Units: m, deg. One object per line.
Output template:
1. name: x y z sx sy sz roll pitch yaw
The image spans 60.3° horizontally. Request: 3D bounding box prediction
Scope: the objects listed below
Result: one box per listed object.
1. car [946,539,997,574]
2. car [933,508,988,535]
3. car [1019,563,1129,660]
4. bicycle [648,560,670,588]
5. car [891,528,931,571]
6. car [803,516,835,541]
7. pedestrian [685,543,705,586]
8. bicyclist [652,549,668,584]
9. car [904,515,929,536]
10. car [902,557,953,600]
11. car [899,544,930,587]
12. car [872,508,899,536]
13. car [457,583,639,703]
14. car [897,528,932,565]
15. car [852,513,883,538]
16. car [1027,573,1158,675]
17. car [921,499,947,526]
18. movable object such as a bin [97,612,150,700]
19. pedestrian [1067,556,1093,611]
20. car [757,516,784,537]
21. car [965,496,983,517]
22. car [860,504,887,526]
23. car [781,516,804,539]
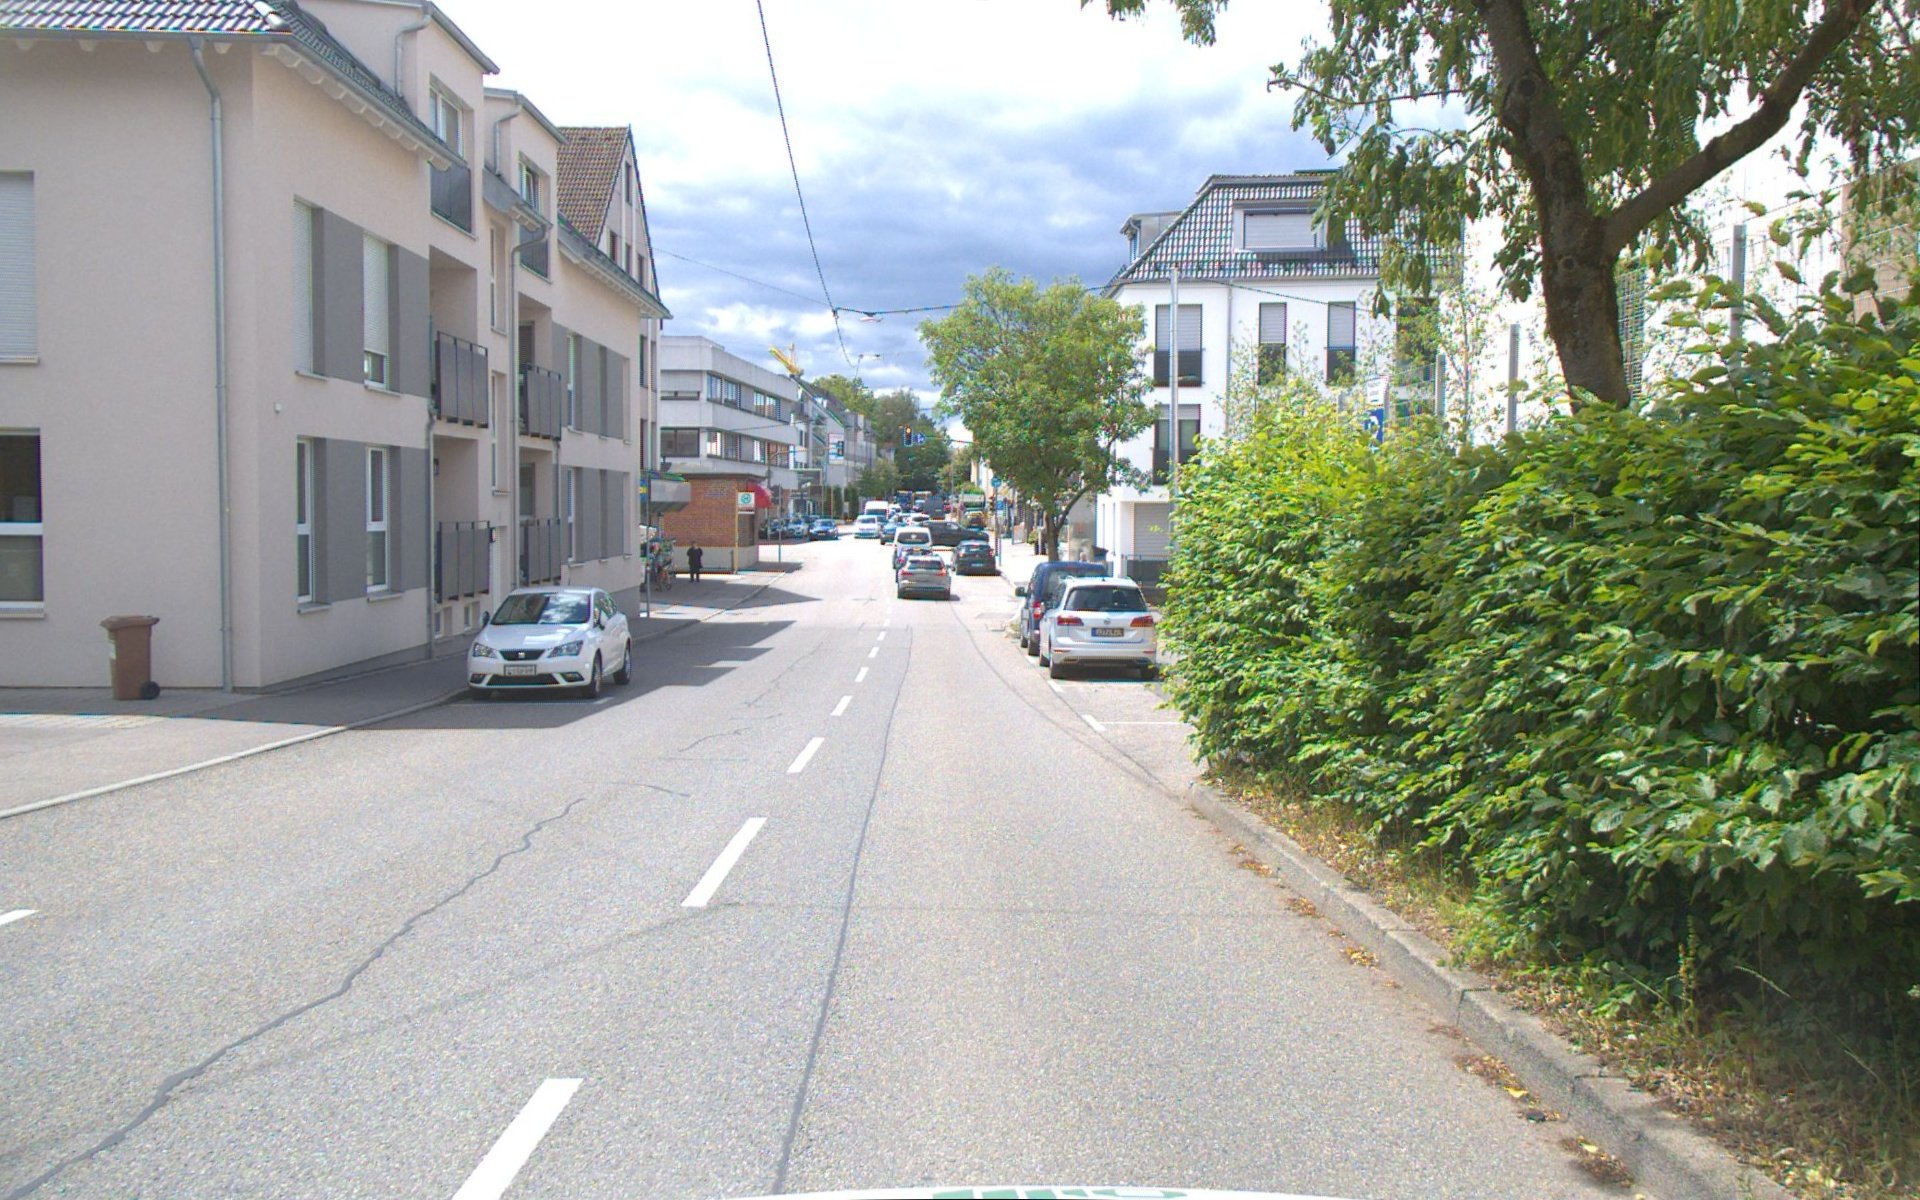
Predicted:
1. car: 0.485 -1.982 74.009 1.720 1.394 3.996 1 4 -7
2. car: 0.029 -5.243 110.731 3.634 1.642 1.550 1 2 -45
3. car: 2.227 0.180 33.468 1.807 1.798 4.514 1 1 -1
4. bicycle: -10.401 -0.907 57.252 0.457 0.876 1.777 2 3 -1
5. car: -2.283 -2.382 77.791 1.799 1.894 3.851 1 3 -1
6. car: -9.953 -5.044 117.098 1.834 1.668 4.001 2 1 1
7. pedestrian: -10.183 -1.369 63.499 0.615 1.630 0.563 1 1 3
8. bicyclist: -10.380 -1.157 57.245 0.448 1.199 0.625 0 3 -1
9. car: -3.400 -5.834 130.044 1.850 1.534 4.000 -1 1 -1
10. car: -1.147 -0.787 58.321 1.709 1.441 4.000 0 2 -1
11. car: -1.846 -1.417 67.044 1.248 1.553 3.051 0 4 -2
12. car: -4.807 -5.014 106.757 1.602 1.684 3.850 1 1 -1
13. car: -5.532 0.521 22.636 1.614 1.443 3.698 1 1 -1
14. car: -2.421 -2.840 88.440 1.799 1.894 3.850 1 1 -1
15. car: -6.725 -5.426 120.511 1.834 1.668 4.001 2 1 1
16. car: 2.153 0.343 27.869 1.750 1.535 4.364 1 1 -1
17. car: -2.533 -8.377 158.182 2.387 2.358 5.326 2 2 -1
18. movable object such as a bin: -9.367 0.624 18.523 0.405 0.970 0.391 1 1 -4
19. pedestrian: 3.696 -0.519 50.984 0.722 1.676 0.616 1 1 -3
20. car: -13.300 -5.147 116.107 1.520 1.400 3.398 1 1 -1
21. car: 1.412 -9.676 171.756 1.765 2.049 3.999 1 1 -1
22. car: -7.062 -6.951 135.274 1.834 1.668 4.001 1 1 1
23. car: -12.280 -5.319 121.548 1.356 1.567 3.398 1 1 -1
